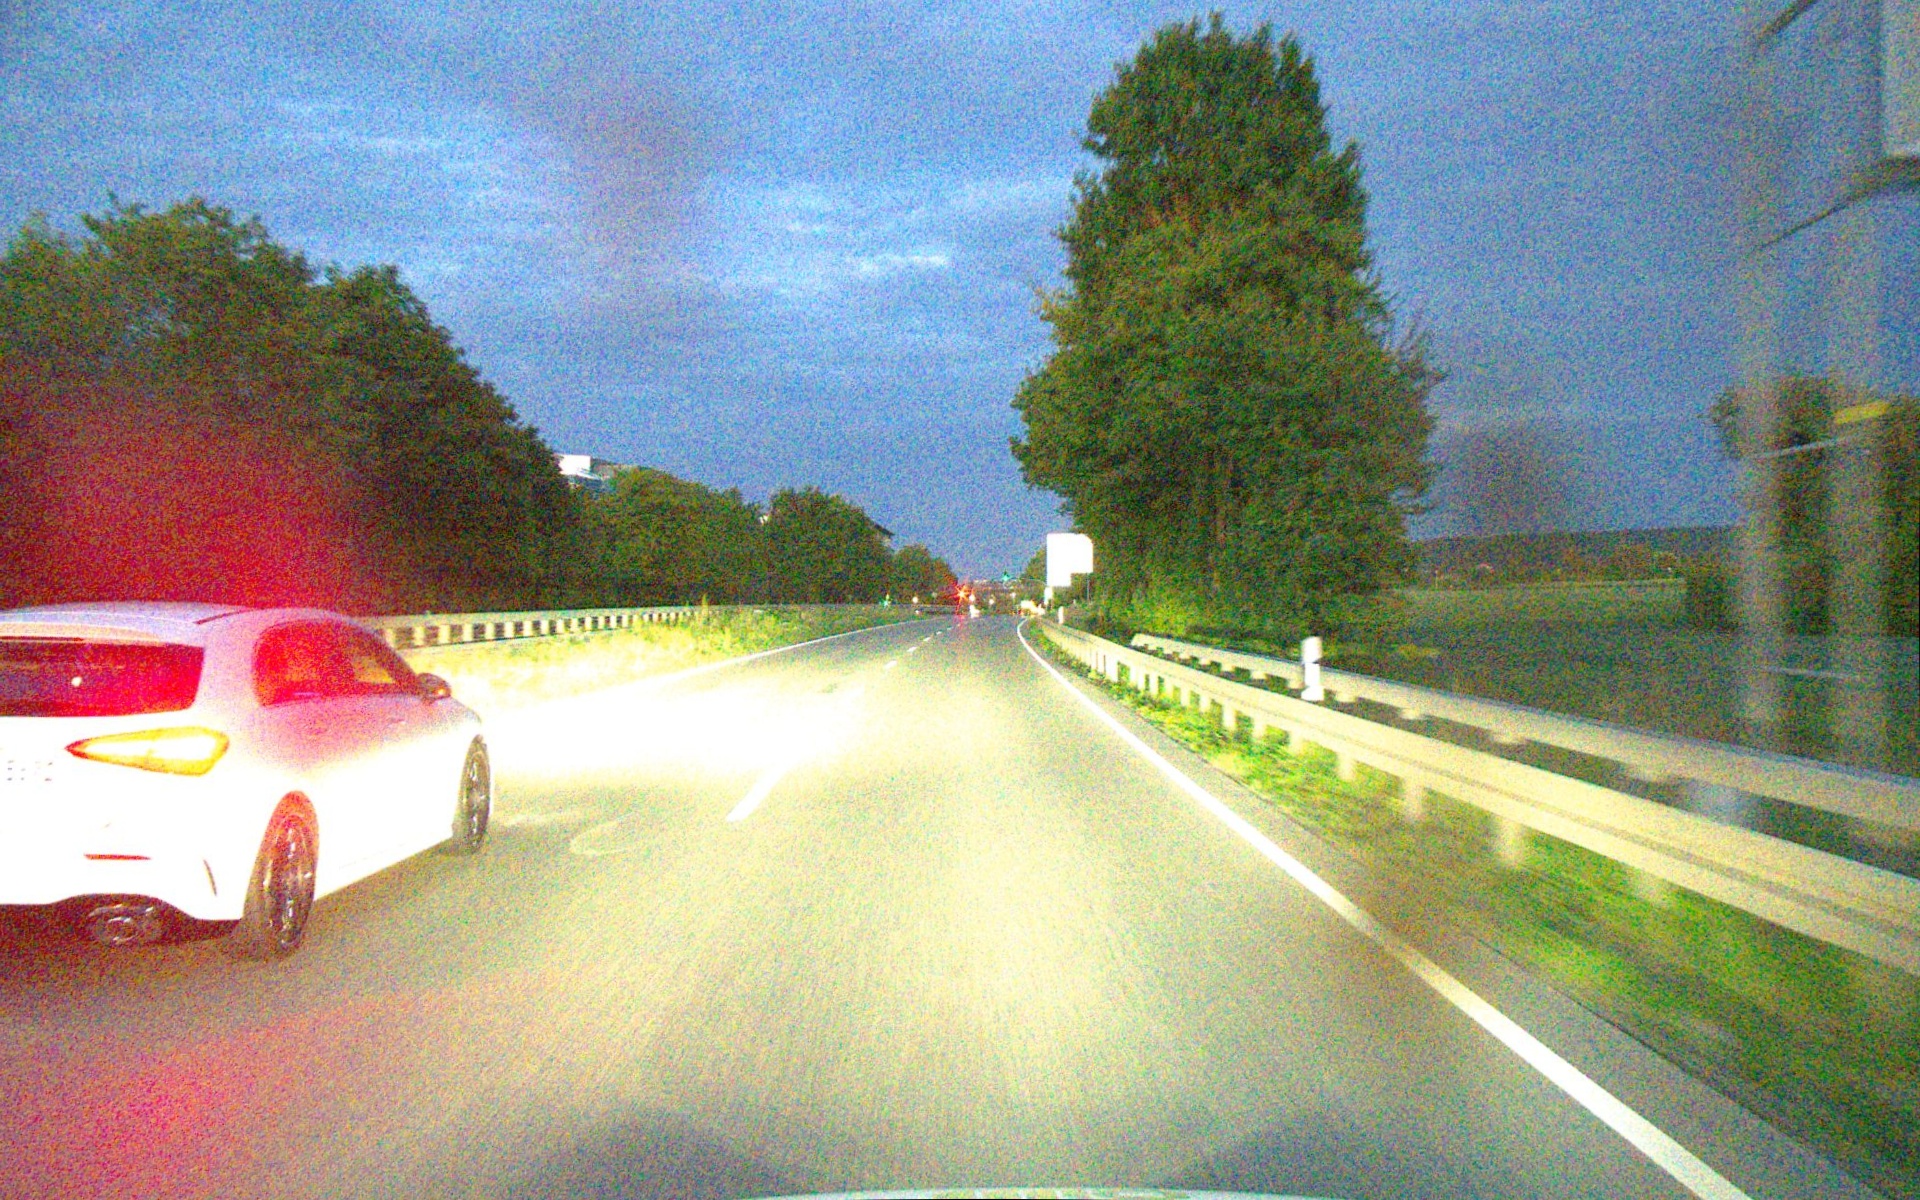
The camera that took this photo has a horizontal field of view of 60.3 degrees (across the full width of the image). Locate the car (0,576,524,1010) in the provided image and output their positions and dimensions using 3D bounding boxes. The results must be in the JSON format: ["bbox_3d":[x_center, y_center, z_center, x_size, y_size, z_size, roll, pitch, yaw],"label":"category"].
[{"bbox_3d":[-3.482,0.680,8.081,1.609,1.516,4.578,1,0,-2],"label":"car"}]
